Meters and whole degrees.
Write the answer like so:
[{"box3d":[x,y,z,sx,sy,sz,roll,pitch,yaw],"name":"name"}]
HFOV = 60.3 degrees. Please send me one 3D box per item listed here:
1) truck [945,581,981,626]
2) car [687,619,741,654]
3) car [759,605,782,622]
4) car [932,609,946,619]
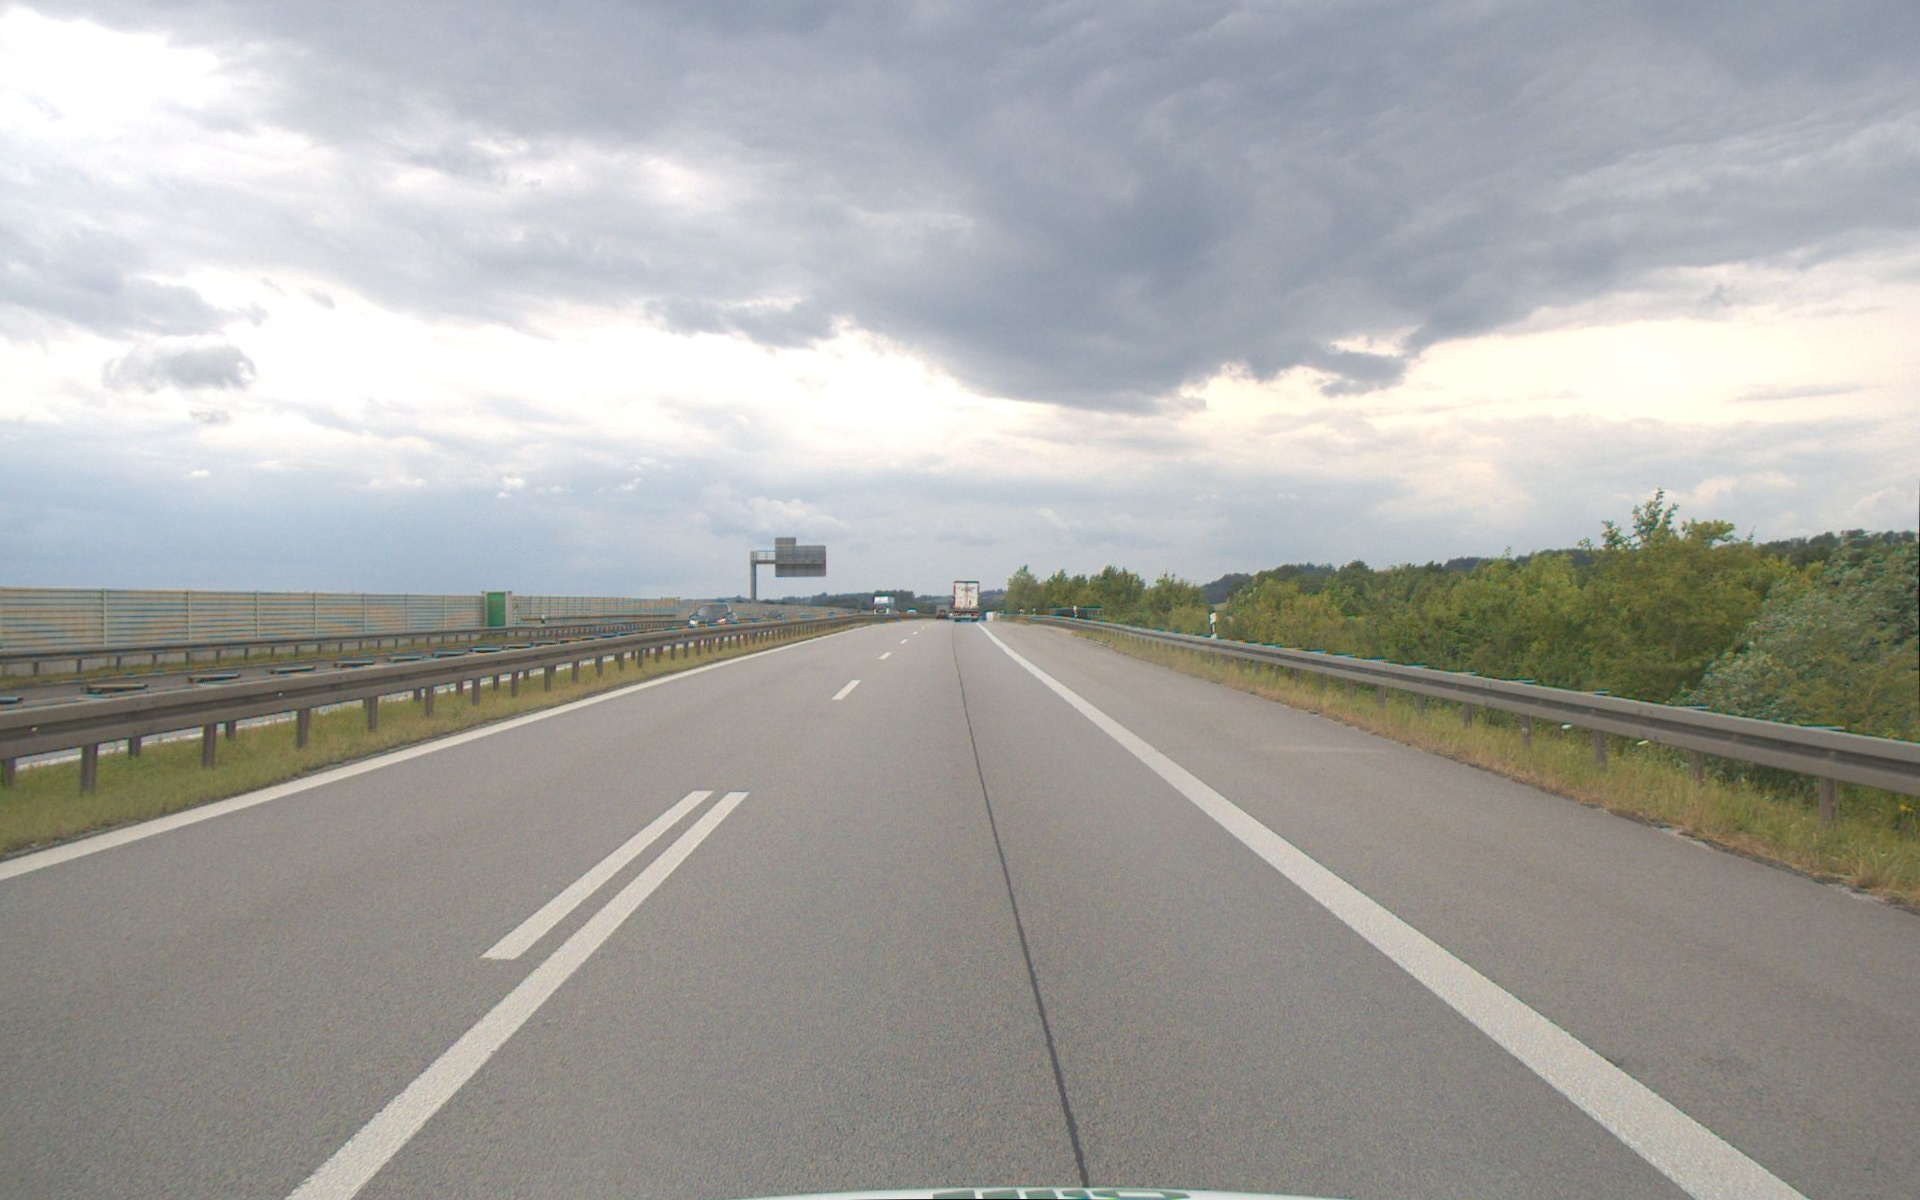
[{"box3d":[0.322,0.504,174.114,3.597,4.490,16.339,0,-1,0],"name":"truck"},{"box3d":[-11.219,1.653,75.783,1.751,1.476,5.172,0,0,-1],"name":"car"},{"box3d":[-18.145,1.289,158.871,1.669,1.521,4.565,-2,-1,0],"name":"car"},{"box3d":[-3.200,2.080,249.437,1.953,1.445,3.998,1,0,-2],"name":"car"}]
